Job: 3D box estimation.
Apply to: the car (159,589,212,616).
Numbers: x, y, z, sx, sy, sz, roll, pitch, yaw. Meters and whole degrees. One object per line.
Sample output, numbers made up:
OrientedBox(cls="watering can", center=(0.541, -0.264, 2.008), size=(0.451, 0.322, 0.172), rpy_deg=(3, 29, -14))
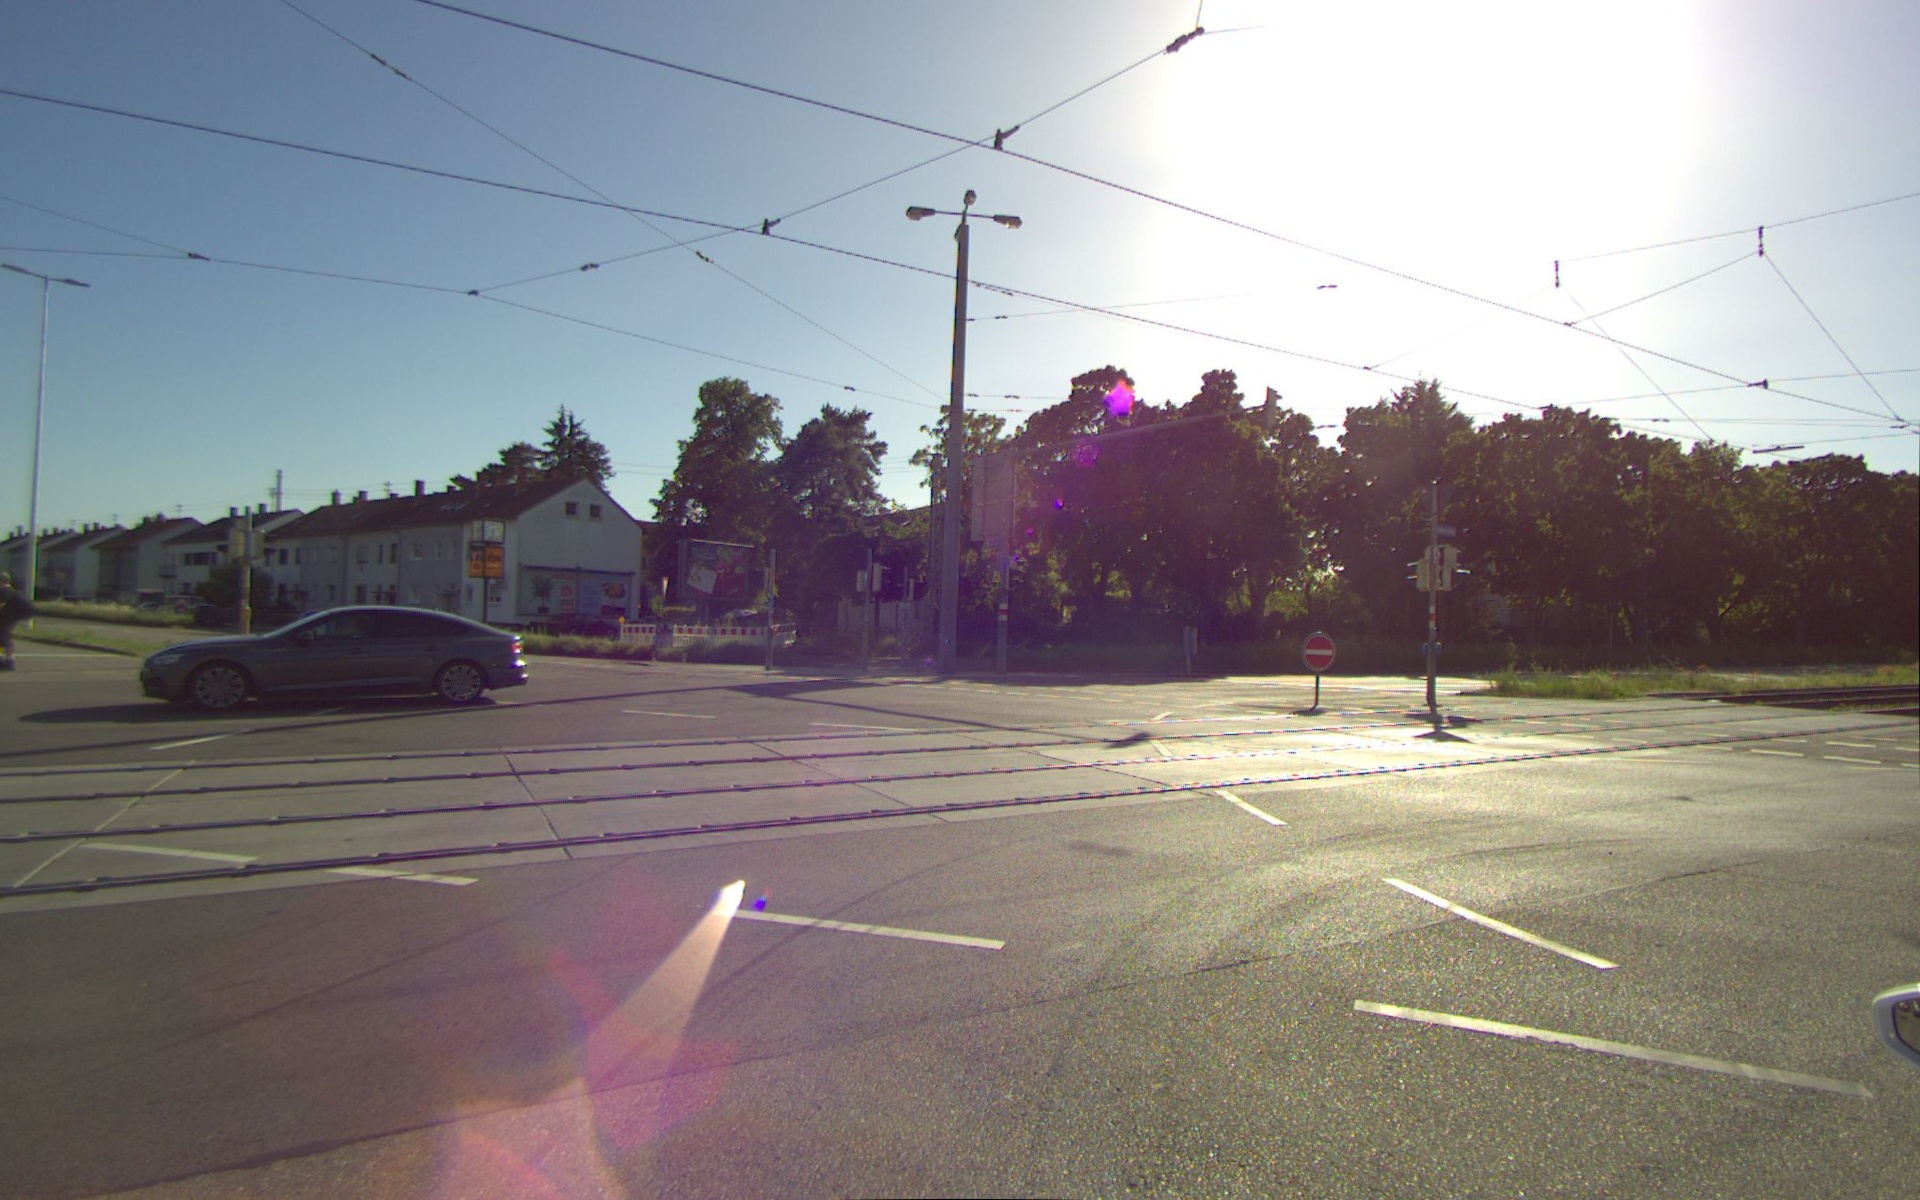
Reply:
OrientedBox(cls="car", center=(-54.765, 0.150, 71.011), size=(3.936, 1.785, 1.993), rpy_deg=(1, -1, 37))

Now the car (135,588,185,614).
OrientedBox(cls="car", center=(-59.448, 0.058, 74.625), size=(3.936, 1.785, 1.993), rpy_deg=(1, -1, 37))

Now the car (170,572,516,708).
OrientedBox(cls="car", center=(-8.687, 0.576, 14.424), size=(3.959, 1.710, 1.781), rpy_deg=(3, -1, -33))

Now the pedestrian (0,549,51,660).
OrientedBox(cls="pedestrian", center=(-17.190, 0.086, 18.237), size=(0.599, 1.974, 0.776), rpy_deg=(1, -1, 19))

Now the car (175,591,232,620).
OrientedBox(cls="car", center=(-51.217, 0.367, 67.997), size=(3.936, 1.785, 1.993), rpy_deg=(1, -1, 37))

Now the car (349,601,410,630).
OrientedBox(cls="car", center=(-37.104, 0.981, 64.174), size=(3.936, 1.785, 1.993), rpy_deg=(1, -1, 37))

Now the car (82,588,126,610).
OrientedBox(cls="car", center=(-71.780, -0.097, 84.232), size=(3.936, 1.785, 1.993), rpy_deg=(1, -1, 37))
